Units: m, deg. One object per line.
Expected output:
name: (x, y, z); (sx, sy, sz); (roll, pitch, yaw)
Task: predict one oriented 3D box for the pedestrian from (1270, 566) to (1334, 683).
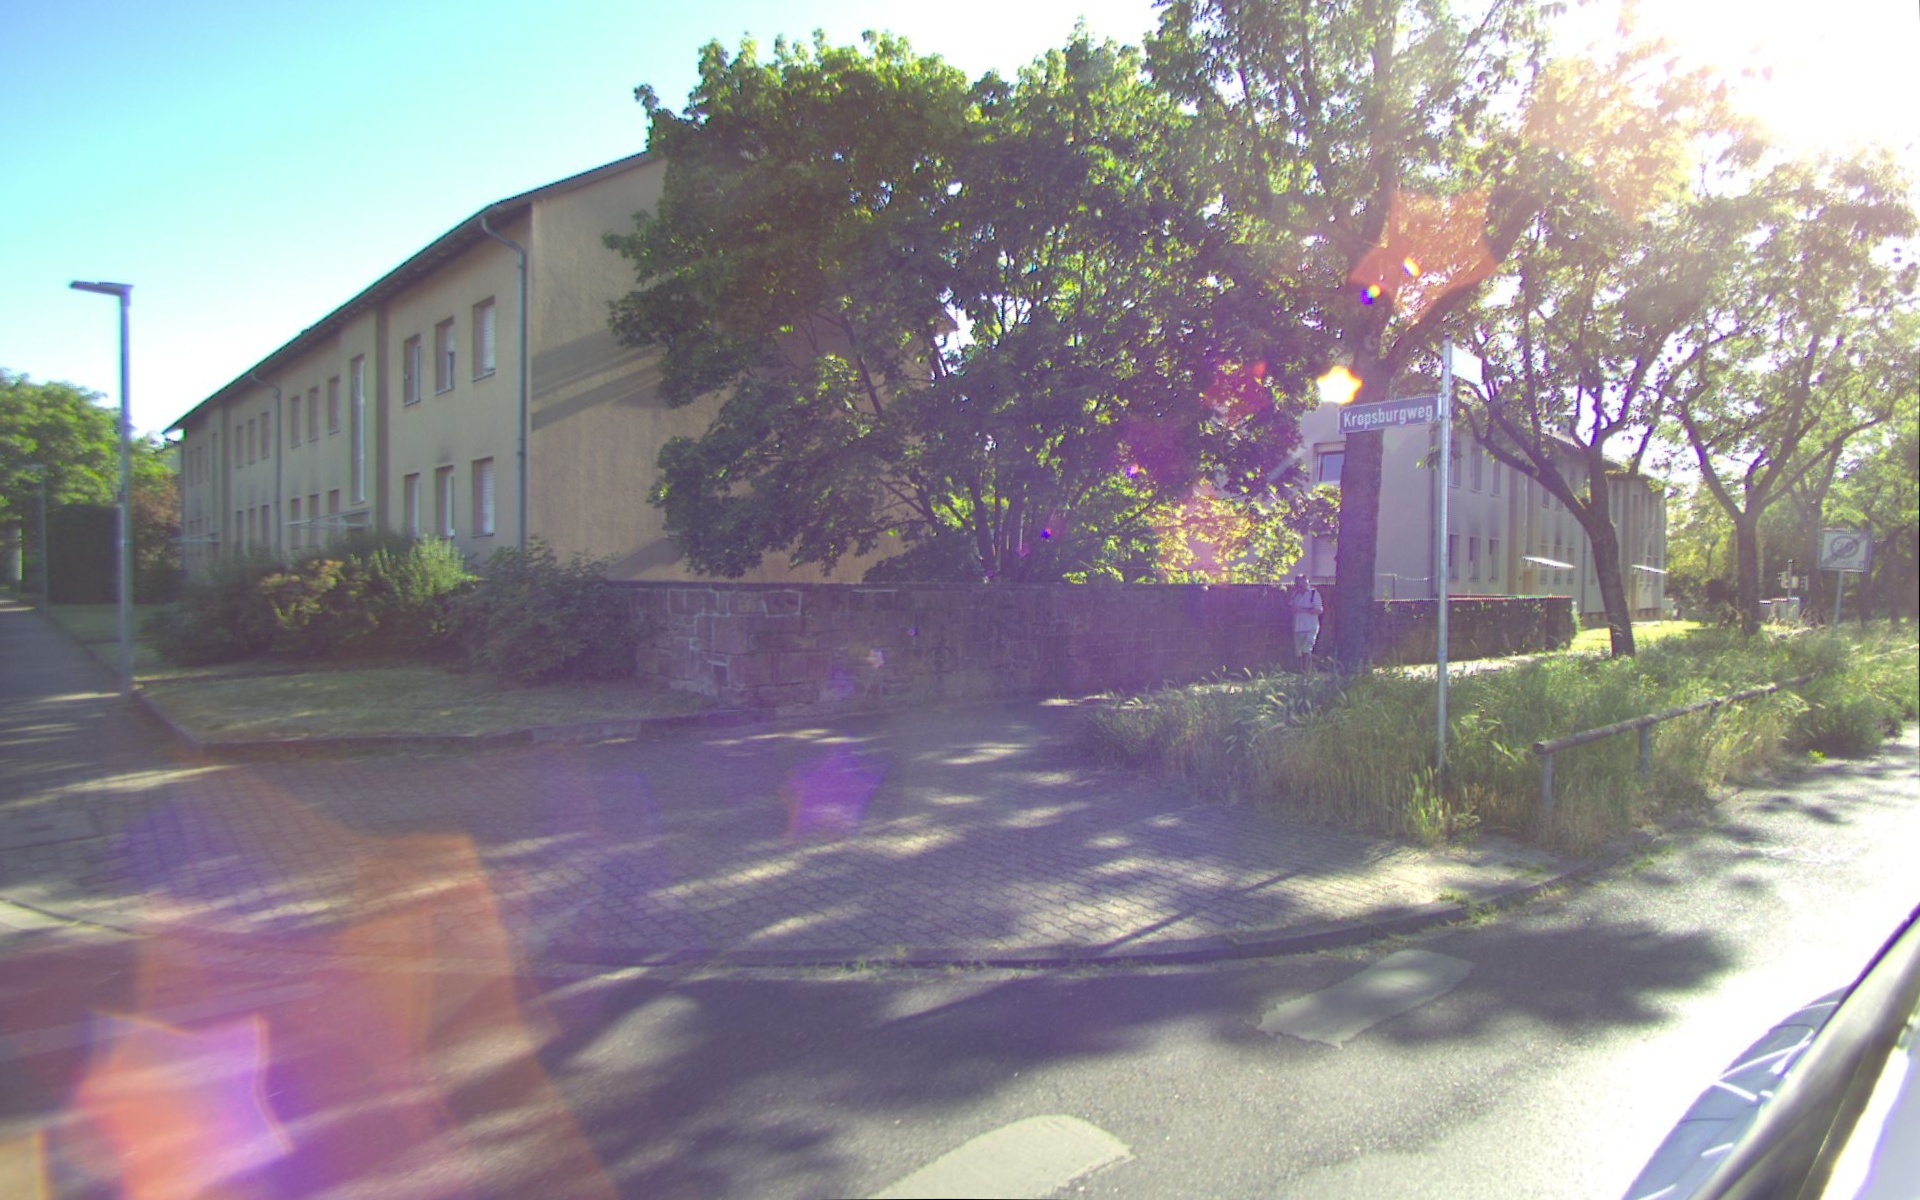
pedestrian: (5.278, 0.362, 15.616); (0.601, 1.726, 0.638); (1, 2, -42)
